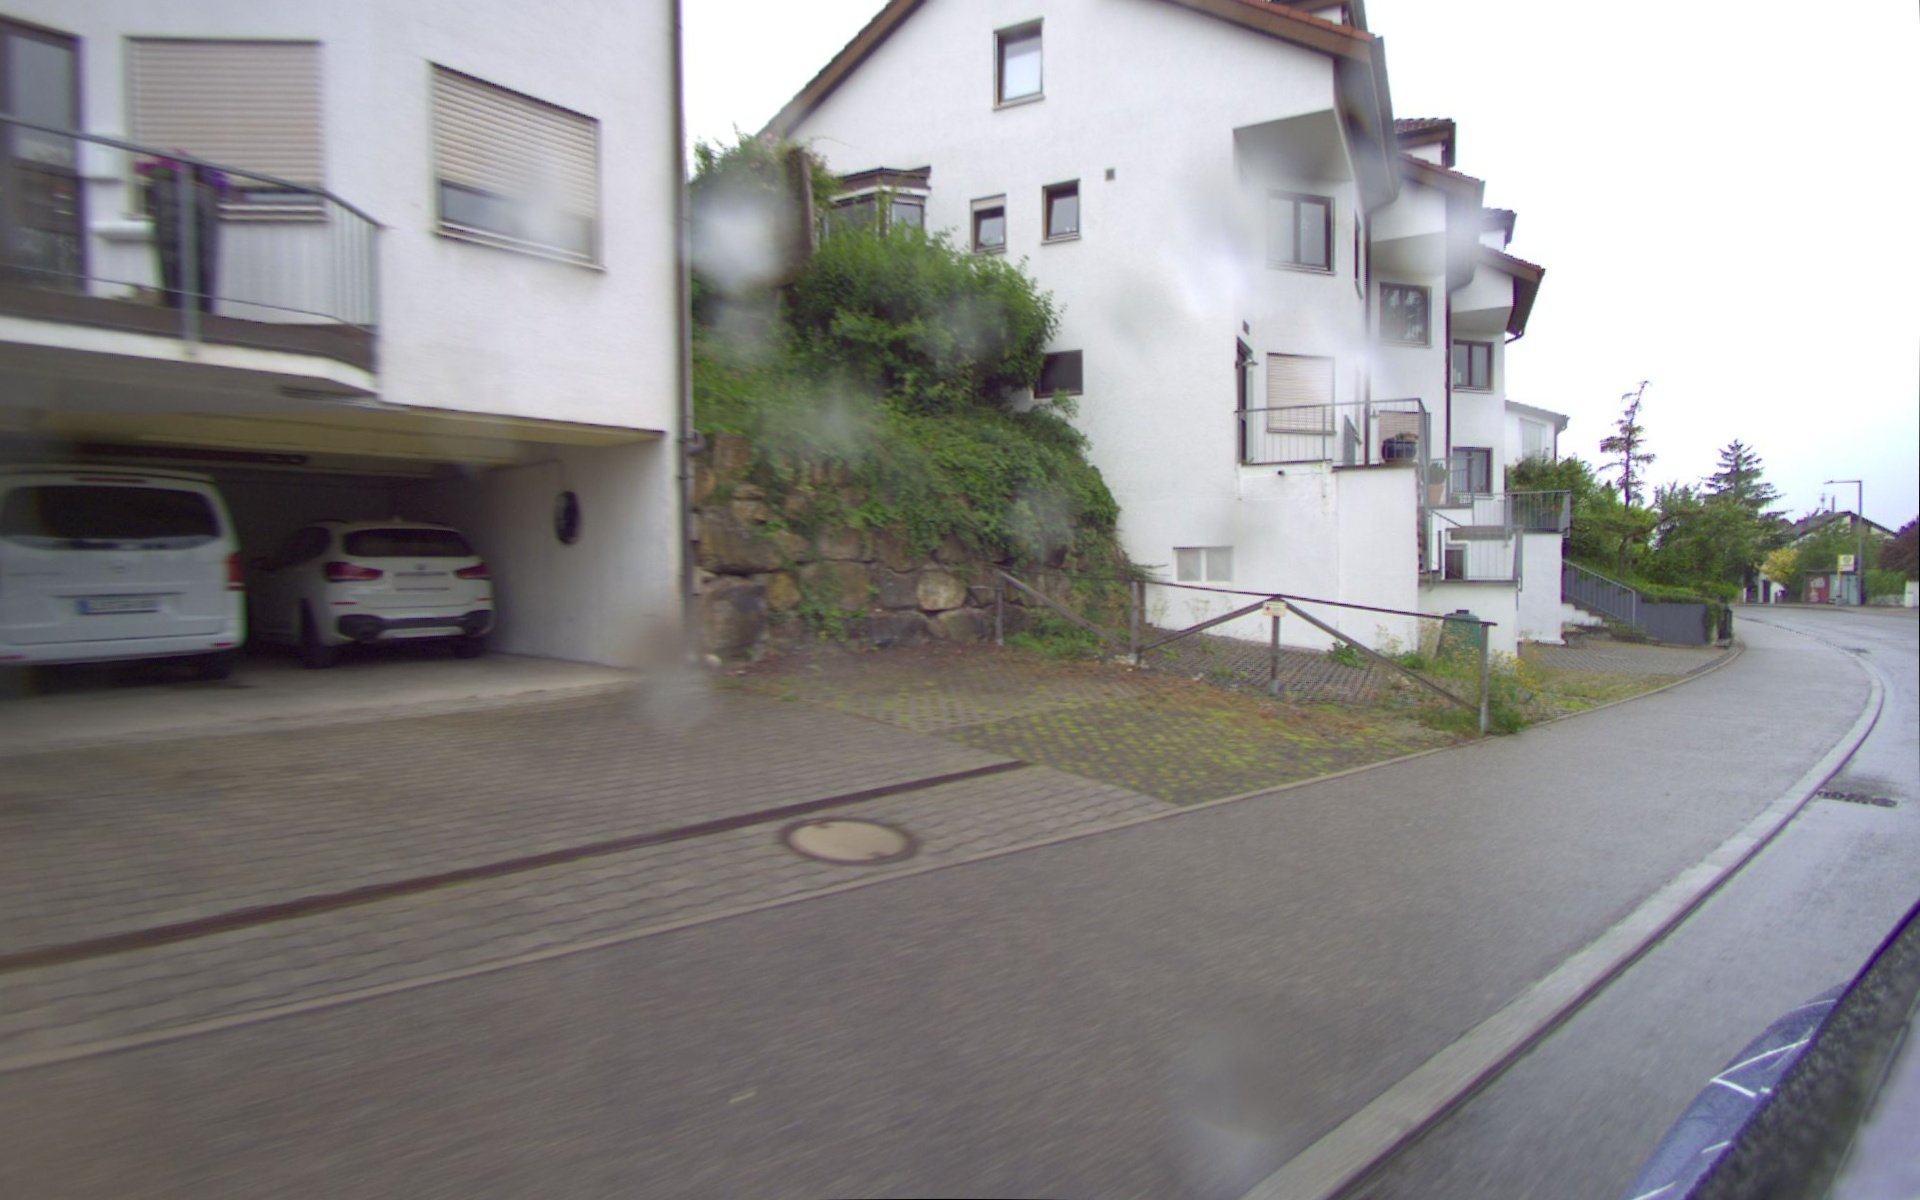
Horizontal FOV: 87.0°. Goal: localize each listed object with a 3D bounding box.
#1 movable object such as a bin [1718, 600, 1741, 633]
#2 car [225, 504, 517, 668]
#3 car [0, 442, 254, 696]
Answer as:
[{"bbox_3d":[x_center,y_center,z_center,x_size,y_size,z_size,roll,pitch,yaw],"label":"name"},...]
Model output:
[{"bbox_3d":[21.783,0.462,28.661,0.491,0.934,0.451,1,1,40],"label":"movable object such as a bin"},{"bbox_3d":[-7.031,-0.161,11.917,3.985,1.601,1.899,1,1,43],"label":"car"},{"bbox_3d":[-8.462,-0.264,9.779,3.985,1.978,1.899,1,0,43],"label":"car"}]
